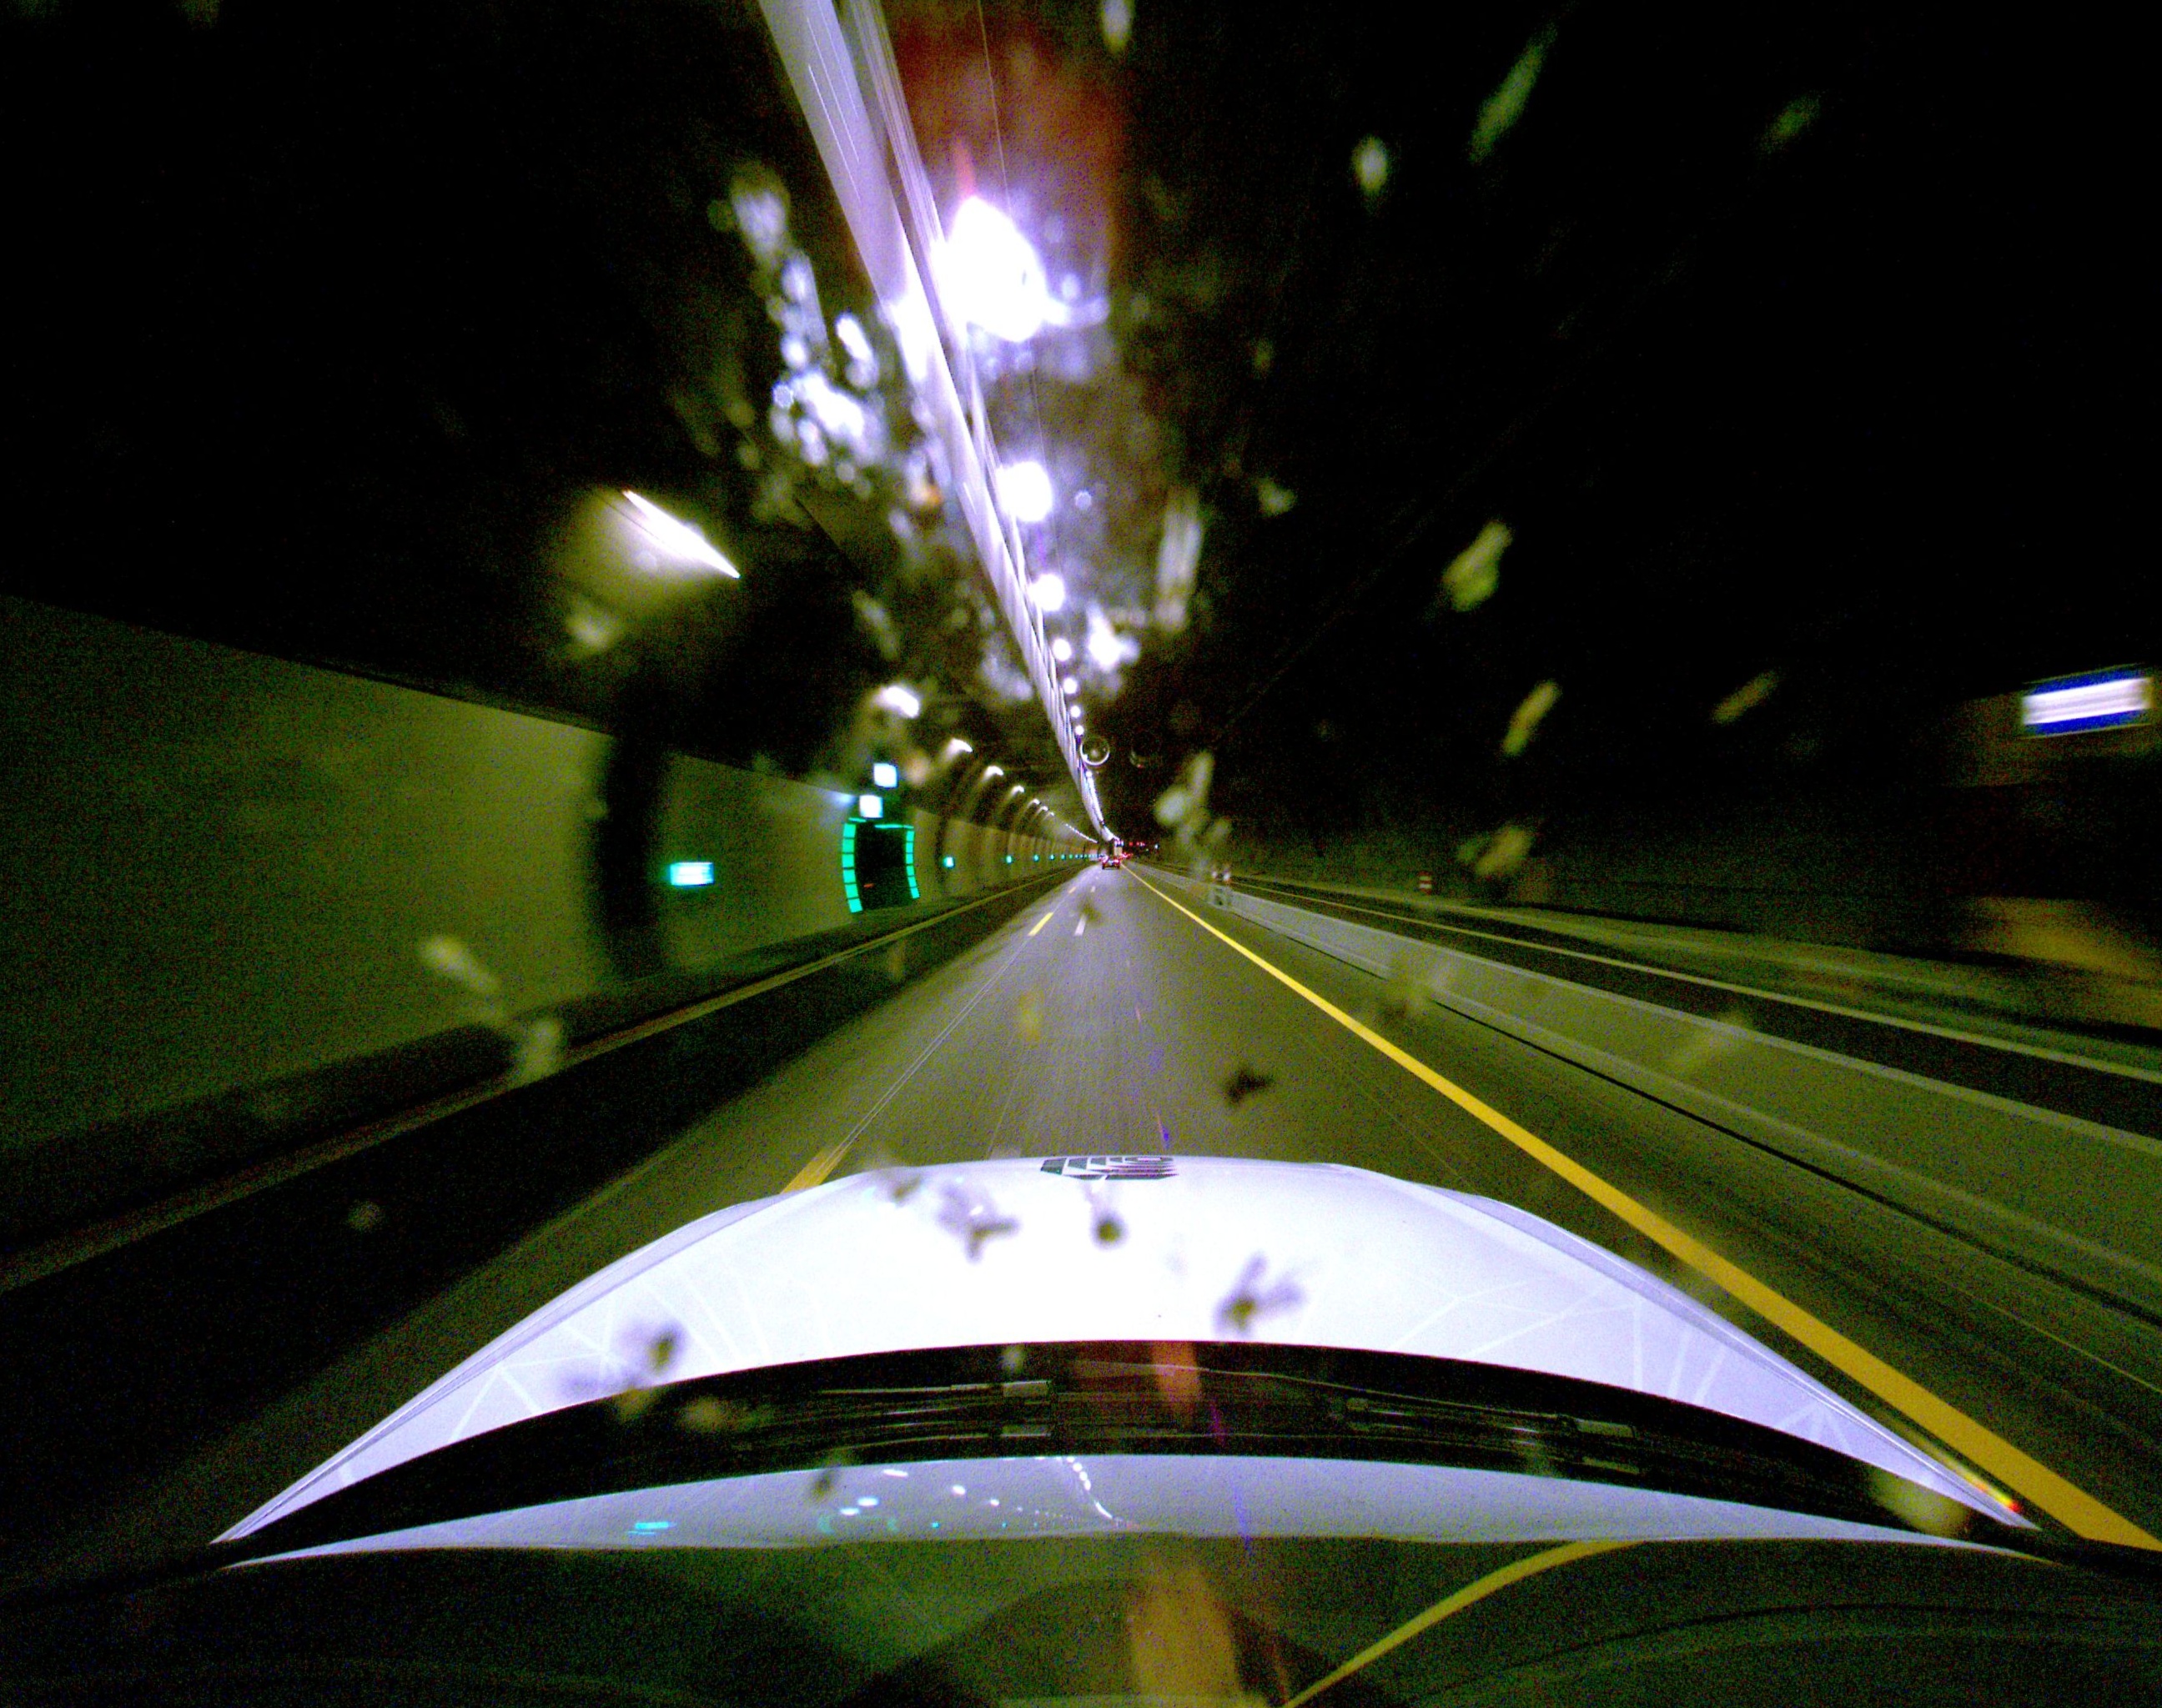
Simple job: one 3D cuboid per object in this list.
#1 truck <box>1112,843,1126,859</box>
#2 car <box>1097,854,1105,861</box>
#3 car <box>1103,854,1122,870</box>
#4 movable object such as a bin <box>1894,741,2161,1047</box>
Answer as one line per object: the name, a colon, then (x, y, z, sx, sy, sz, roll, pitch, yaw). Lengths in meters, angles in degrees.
truck: (12.287, -0.839, 261.934, 4.526, 4.987, 9.608, 0, -1, 4)
car: (5.019, 0.847, 202.377, 1.820, 1.607, 4.001, 0, -1, 1)
car: (3.349, 0.844, 87.013, 1.881, 1.607, 4.001, 0, -1, 1)
movable object such as a bin: (8.404, 0.275, 5.295, 1.677, 2.145, 4.629, 0, -1, 1)
